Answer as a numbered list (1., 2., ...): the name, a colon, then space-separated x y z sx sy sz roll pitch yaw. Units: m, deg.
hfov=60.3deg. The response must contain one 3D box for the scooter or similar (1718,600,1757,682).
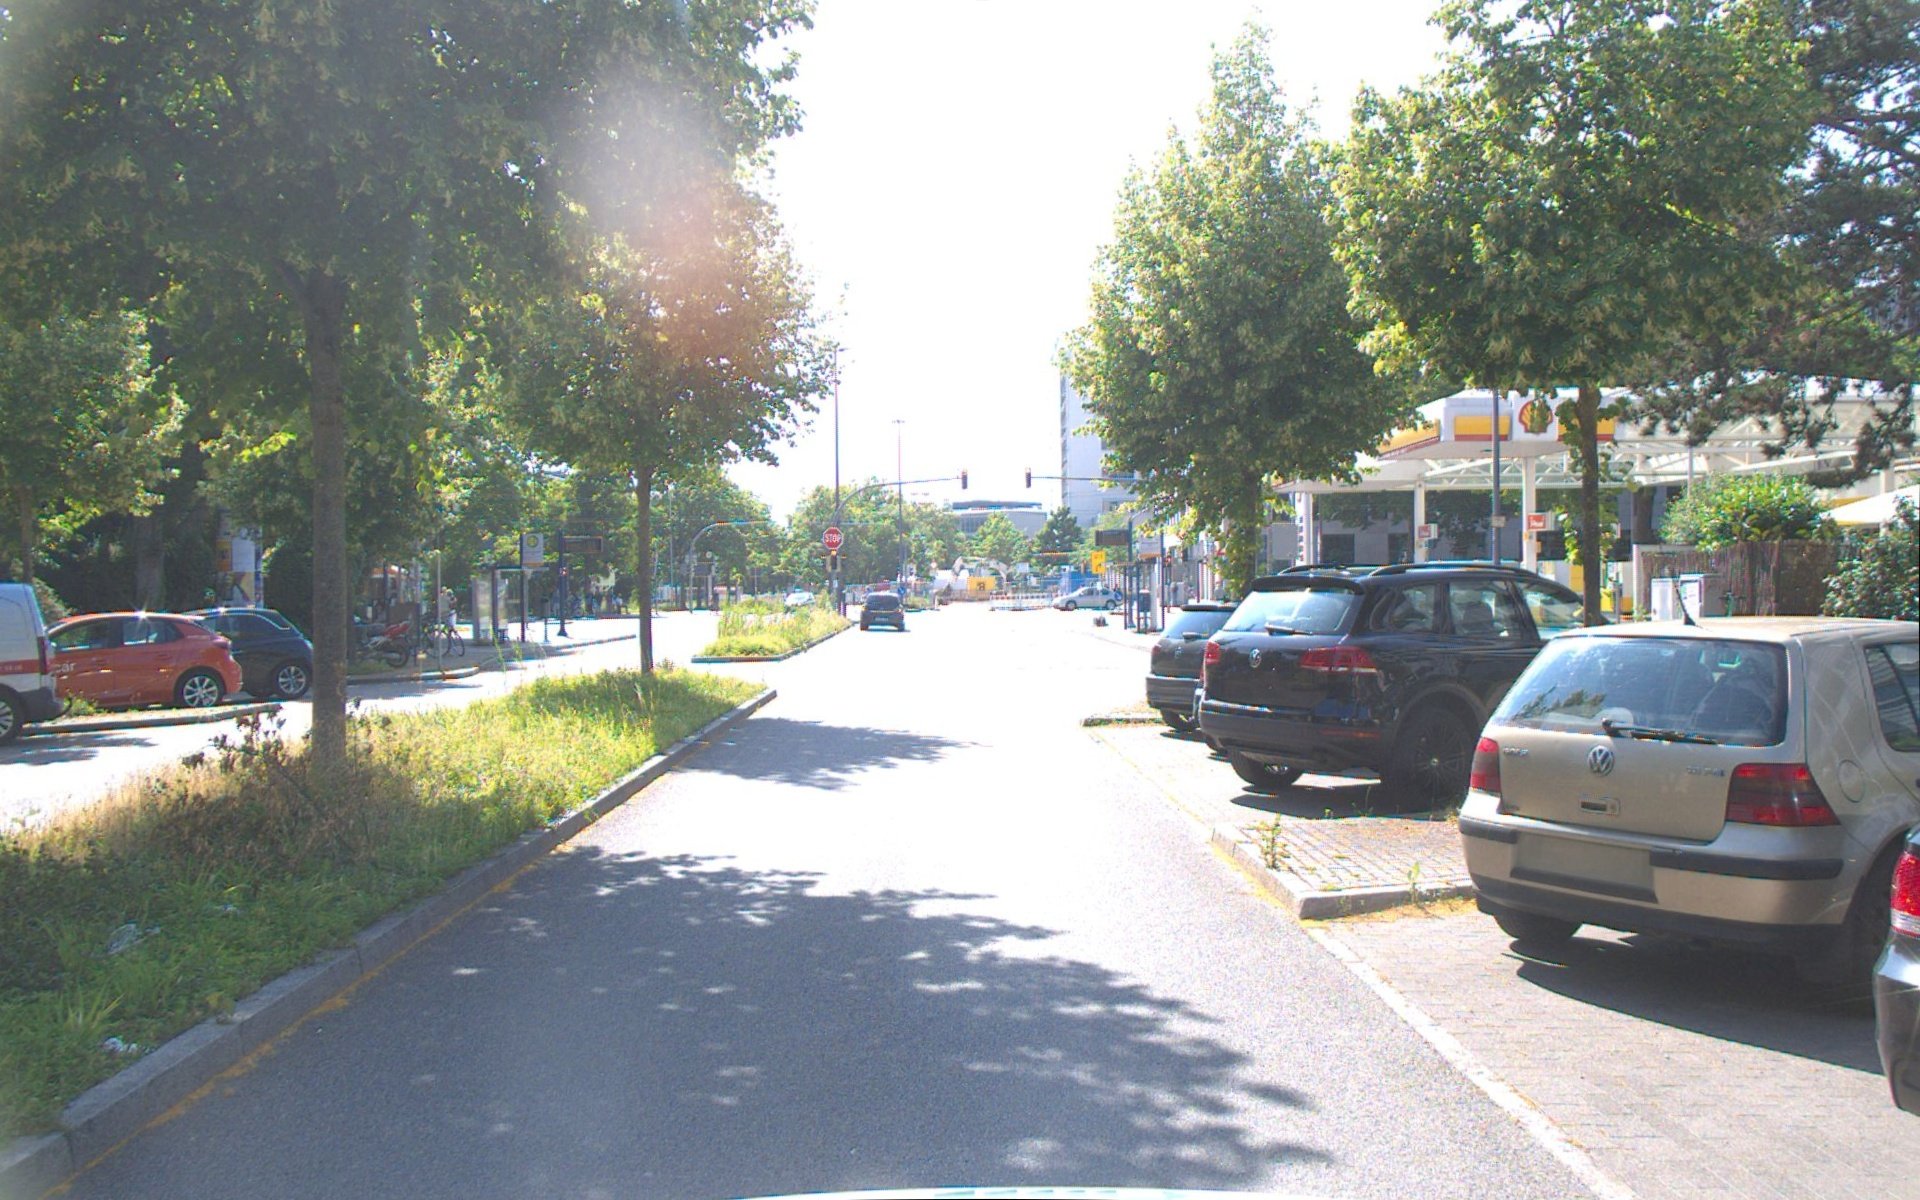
1. scooter or similar: 11.641 0.601 24.779 0.226 1.186 0.958 -1 0 6

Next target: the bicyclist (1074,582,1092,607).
1. bicyclist: 8.330 -0.377 112.179 1.213 1.702 0.525 0 0 7

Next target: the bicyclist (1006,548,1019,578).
1. bicyclist: 4.654 -3.300 146.376 1.047 2.619 0.828 0 0 5

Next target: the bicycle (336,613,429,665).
1. bicycle: -12.898 0.862 36.983 1.807 1.111 0.693 -1 0 0

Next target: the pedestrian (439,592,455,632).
1. pedestrian: -22.977 0.533 74.064 0.648 1.756 0.749 -1 0 -19

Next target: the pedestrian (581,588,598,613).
1. pedestrian: -23.963 0.041 107.053 0.641 1.639 0.942 0 0 22

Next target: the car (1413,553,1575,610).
1. car: 27.174 -0.971 84.350 7.283 2.721 2.900 -1 1 -5

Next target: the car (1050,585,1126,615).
1. car: 7.679 0.008 99.331 4.295 1.667 1.998 -1 0 -4

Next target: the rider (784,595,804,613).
1. rider: -11.999 0.281 119.619 1.364 1.216 2.696 -1 0 -3

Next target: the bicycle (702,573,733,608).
1. bicycle: -16.445 -0.624 112.473 1.567 2.308 3.999 -1 0 -1

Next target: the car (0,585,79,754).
1. car: -11.729 0.771 17.928 3.727 1.803 1.799 -1 0 -33

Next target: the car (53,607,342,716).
1. car: -11.917 0.922 25.956 3.742 1.448 1.827 -2 0 -42

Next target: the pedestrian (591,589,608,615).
1. pedestrian: -23.135 0.137 106.269 0.641 1.639 0.942 0 0 22

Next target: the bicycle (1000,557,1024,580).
1. bicycle: 4.615 -2.815 146.383 2.044 1.996 0.828 0 0 5

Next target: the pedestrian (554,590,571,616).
1. pedestrian: -25.636 0.178 106.584 0.641 1.639 0.942 0 0 22

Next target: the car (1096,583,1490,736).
1. car: 3.807 0.604 18.954 4.050 1.557 1.985 -1 0 -24

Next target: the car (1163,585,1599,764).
1. car: 4.070 0.626 15.892 3.942 1.499 1.752 -1 0 -29

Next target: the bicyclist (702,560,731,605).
1. bicyclist: -16.432 -1.149 111.649 1.567 2.982 2.353 -1 0 -1

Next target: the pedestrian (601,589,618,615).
1. pedestrian: -22.789 0.126 107.603 0.652 1.639 0.942 0 0 22

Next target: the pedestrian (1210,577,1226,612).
1. pedestrian: 11.569 -0.244 74.262 0.606 1.570 0.461 -1 0 -2

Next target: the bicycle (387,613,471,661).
1. bicycle: -12.997 0.902 40.522 1.807 1.125 0.693 -1 0 0

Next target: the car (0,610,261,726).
1. car: -11.936 0.896 23.008 3.802 1.448 1.693 -1 0 -37

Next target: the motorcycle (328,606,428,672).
1. motorcycle: -11.953 0.799 33.998 1.810 1.307 0.692 -1 0 -8

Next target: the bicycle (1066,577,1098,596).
1. bicycle: 8.279 -0.902 112.181 2.181 1.307 0.525 0 0 7

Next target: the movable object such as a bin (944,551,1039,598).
1. movable object such as a bin: 3.166 -2.587 167.774 9.476 4.629 3.164 -1 0 0

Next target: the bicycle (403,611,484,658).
1. bicycle: -13.055 0.857 41.820 1.807 1.142 0.693 -1 0 0

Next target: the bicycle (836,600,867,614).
1. bicycle: -7.035 0.452 107.151 1.967 0.899 0.525 -1 0 -16

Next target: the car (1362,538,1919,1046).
1. car: 3.705 0.597 7.388 3.963 1.668 1.727 -1 0 -41

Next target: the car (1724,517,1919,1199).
1. car: 3.864 0.613 4.451 3.960 1.668 1.729 -2 2 -39

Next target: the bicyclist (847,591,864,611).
1. bicyclist: -6.760 0.083 107.242 1.034 1.297 0.490 -1 0 -16

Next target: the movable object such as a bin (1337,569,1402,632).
1. movable object such as a bin: 11.160 0.012 45.159 1.282 1.619 1.395 -3 0 -4

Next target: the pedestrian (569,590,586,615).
1. pedestrian: -24.740 0.159 107.001 0.641 1.639 0.942 0 0 22

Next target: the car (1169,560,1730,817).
1. car: 3.972 0.555 13.048 4.691 1.689 1.731 -1 0 -35

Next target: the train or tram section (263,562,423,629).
1. train or tram section: -33.150 -0.251 89.159 7.404 3.390 3.118 -1 0 -3

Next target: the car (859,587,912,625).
1. car: -2.960 0.221 64.770 1.954 1.422 3.997 -1 0 -4
